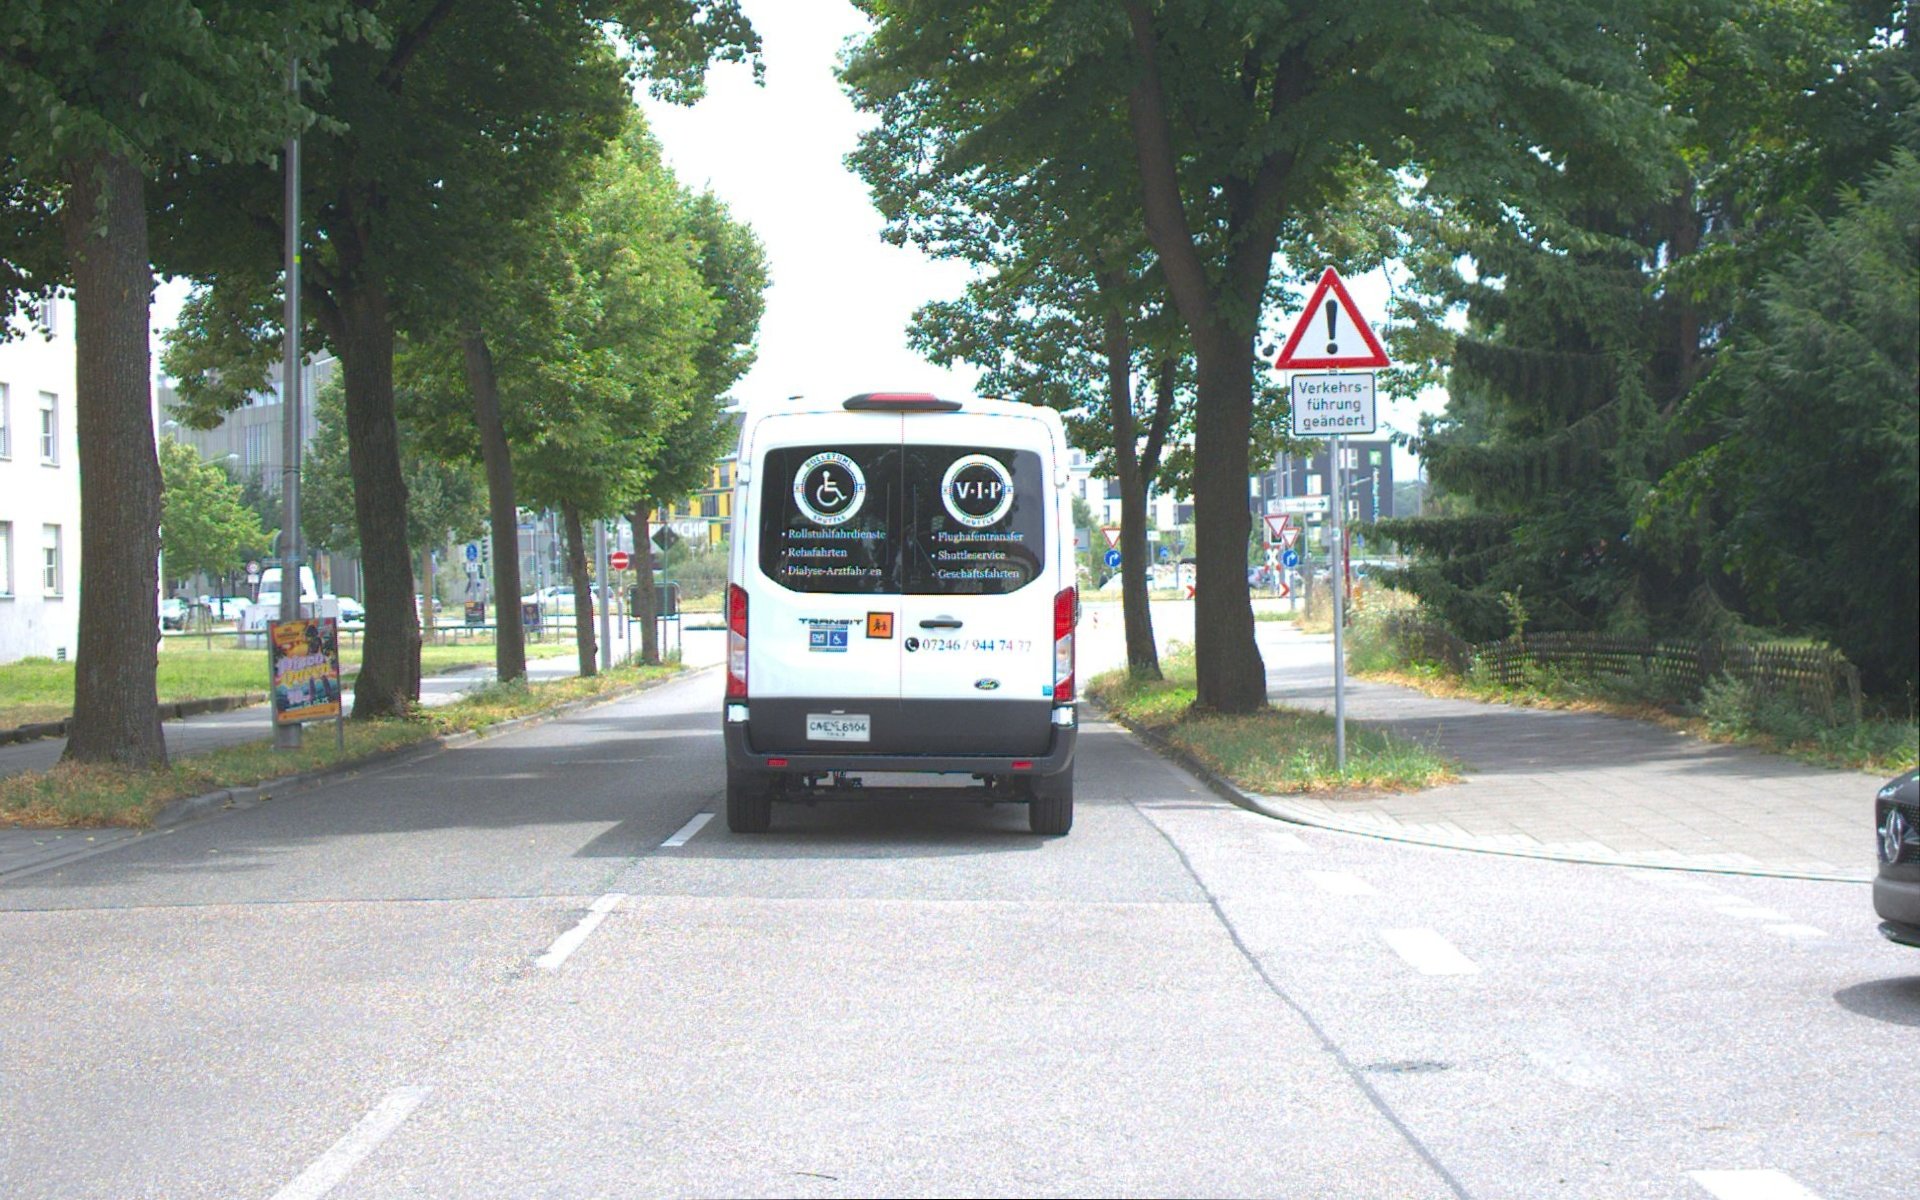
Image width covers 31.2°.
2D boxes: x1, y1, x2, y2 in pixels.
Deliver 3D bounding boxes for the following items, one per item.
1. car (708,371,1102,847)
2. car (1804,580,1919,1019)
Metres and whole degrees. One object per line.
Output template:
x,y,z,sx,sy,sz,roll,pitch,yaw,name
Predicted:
-0.355,0.079,20.779,2.062,2.531,4.000,2,-1,-2,car
5.327,0.600,11.733,4.371,1.438,2.011,-2,-1,1,car
